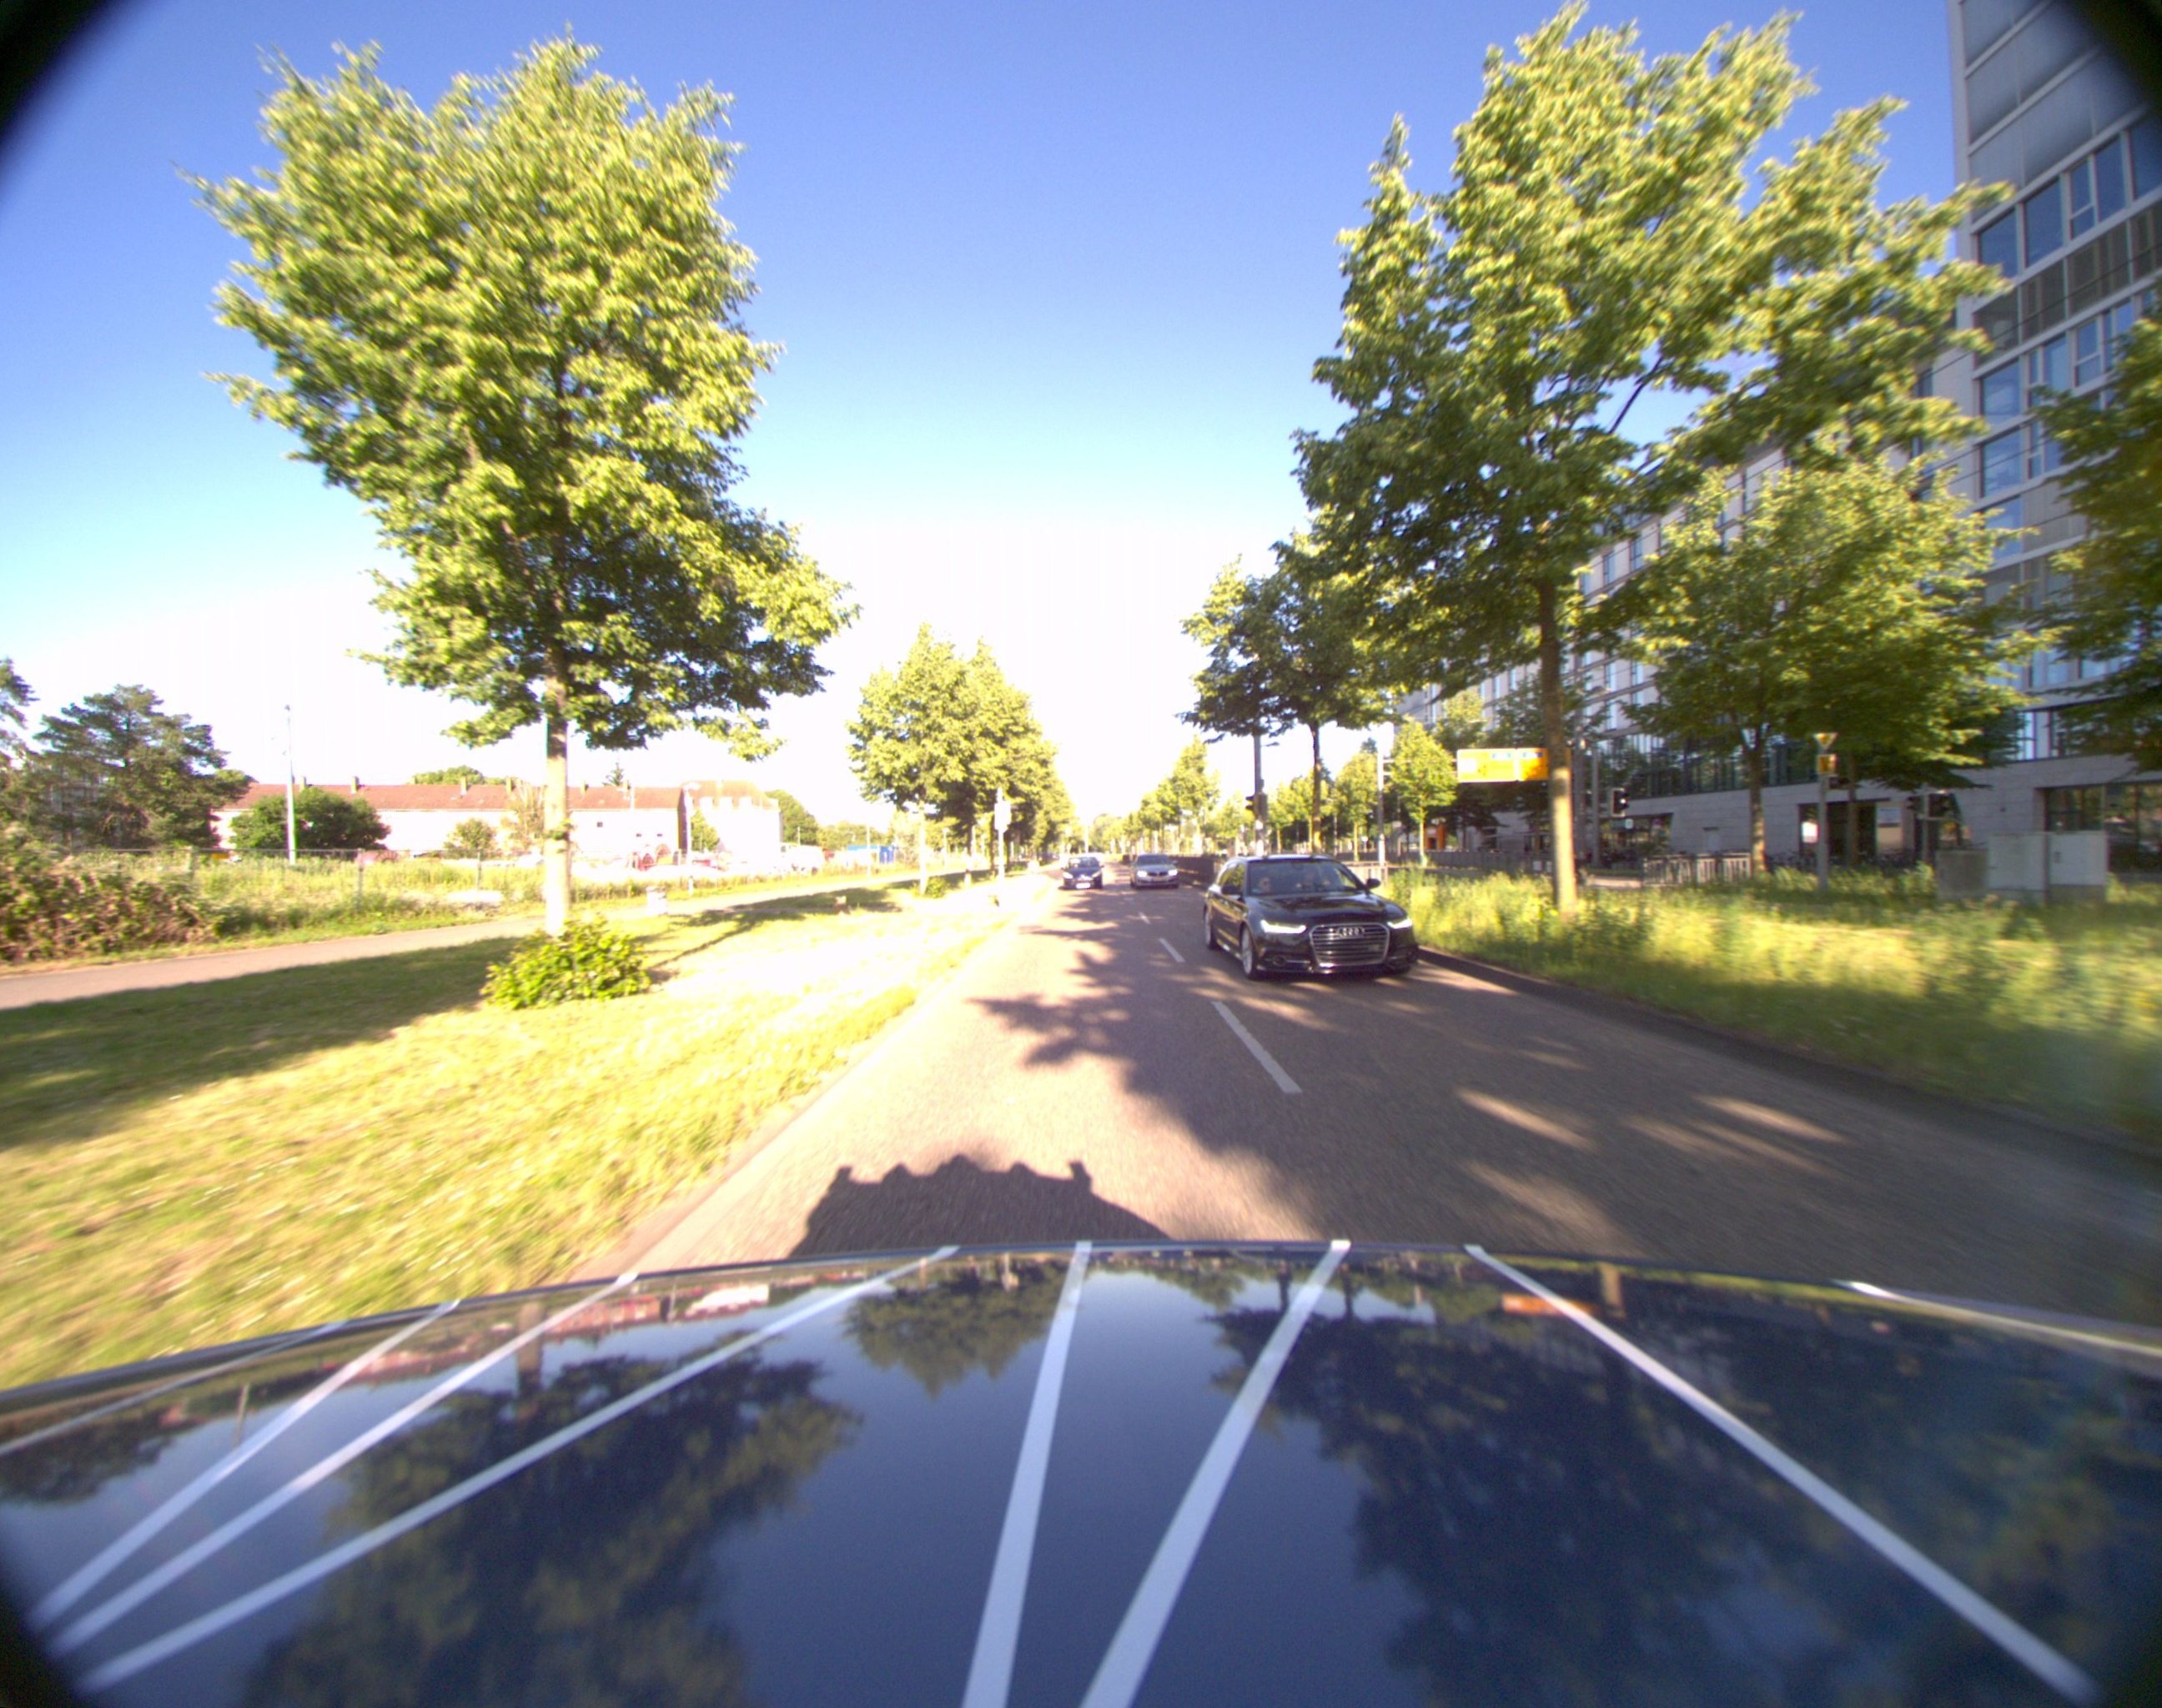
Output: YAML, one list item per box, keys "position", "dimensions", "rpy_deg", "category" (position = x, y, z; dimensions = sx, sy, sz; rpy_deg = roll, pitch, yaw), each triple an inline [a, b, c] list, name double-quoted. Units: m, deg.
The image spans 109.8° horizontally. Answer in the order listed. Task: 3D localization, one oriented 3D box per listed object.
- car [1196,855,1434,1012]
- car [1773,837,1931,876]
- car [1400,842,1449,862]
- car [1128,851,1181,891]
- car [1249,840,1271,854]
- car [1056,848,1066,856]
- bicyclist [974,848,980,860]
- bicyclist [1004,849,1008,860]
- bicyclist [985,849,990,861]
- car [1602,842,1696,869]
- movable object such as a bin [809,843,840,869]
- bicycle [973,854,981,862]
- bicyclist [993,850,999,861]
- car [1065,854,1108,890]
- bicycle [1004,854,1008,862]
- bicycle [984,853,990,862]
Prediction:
- position: [2.767, 0.823, 10.160]
  dimensions: [1.788, 1.518, 4.601]
  rpy_deg: [-2, 0, 1]
  category: "car"
- position: [31.548, 0.080, 31.324]
  dimensions: [2.004, 1.412, 4.545]
  rpy_deg: [-1, 0, 1]
  category: "car"
- position: [26.095, -0.158, 57.897]
  dimensions: [1.764, 1.395, 4.333]
  rpy_deg: [-1, 0, 1]
  category: "car"
- position: [3.094, 0.656, 32.688]
  dimensions: [1.849, 1.560, 4.528]
  rpy_deg: [-1, 0, 0]
  category: "car"
- position: [24.108, -0.915, 102.650]
  dimensions: [1.998, 1.740, 4.227]
  rpy_deg: [-1, 0, 1]
  category: "car"
- position: [-3.937, -0.447, 148.899]
  dimensions: [1.701, 1.555, 3.675]
  rpy_deg: [-2, 1, 1]
  category: "car"
- position: [-13.343, 0.018, 97.535]
  dimensions: [0.654, 1.544, 0.794]
  rpy_deg: [-1, 1, 1]
  category: "bicyclist"
- position: [-10.829, 0.057, 109.376]
  dimensions: [0.471, 1.478, 0.915]
  rpy_deg: [-2, 2, 0]
  category: "bicyclist"
- position: [-12.059, 0.148, 97.747]
  dimensions: [0.504, 1.464, 0.833]
  rpy_deg: [-1, 1, -1]
  category: "bicyclist"
- position: [31.798, 0.058, 42.742]
  dimensions: [1.963, 1.412, 4.545]
  rpy_deg: [-1, 0, 1]
  category: "car"
- position: [-21.011, 0.134, 62.247]
  dimensions: [1.799, 2.002, 1.789]
  rpy_deg: [-2, 2, 2]
  category: "movable object such as a bin"
- position: [-13.338, 0.559, 97.606]
  dimensions: [0.657, 1.006, 1.820]
  rpy_deg: [-2, 0, 1]
  category: "bicycle"
- position: [-12.249, 0.234, 109.455]
  dimensions: [0.592, 1.578, 0.965]
  rpy_deg: [-2, 2, 0]
  category: "bicyclist"
- position: [0.315, 0.767, 34.557]
  dimensions: [1.762, 1.506, 3.949]
  rpy_deg: [-2, 0, 3]
  category: "car"
- position: [-10.817, 0.517, 109.444]
  dimensions: [0.479, 1.076, 1.643]
  rpy_deg: [-2, 2, 0]
  category: "bicycle"
- position: [-12.070, 0.480, 97.710]
  dimensions: [0.507, 1.145, 1.605]
  rpy_deg: [0, 0, 0]
  category: "bicycle"
